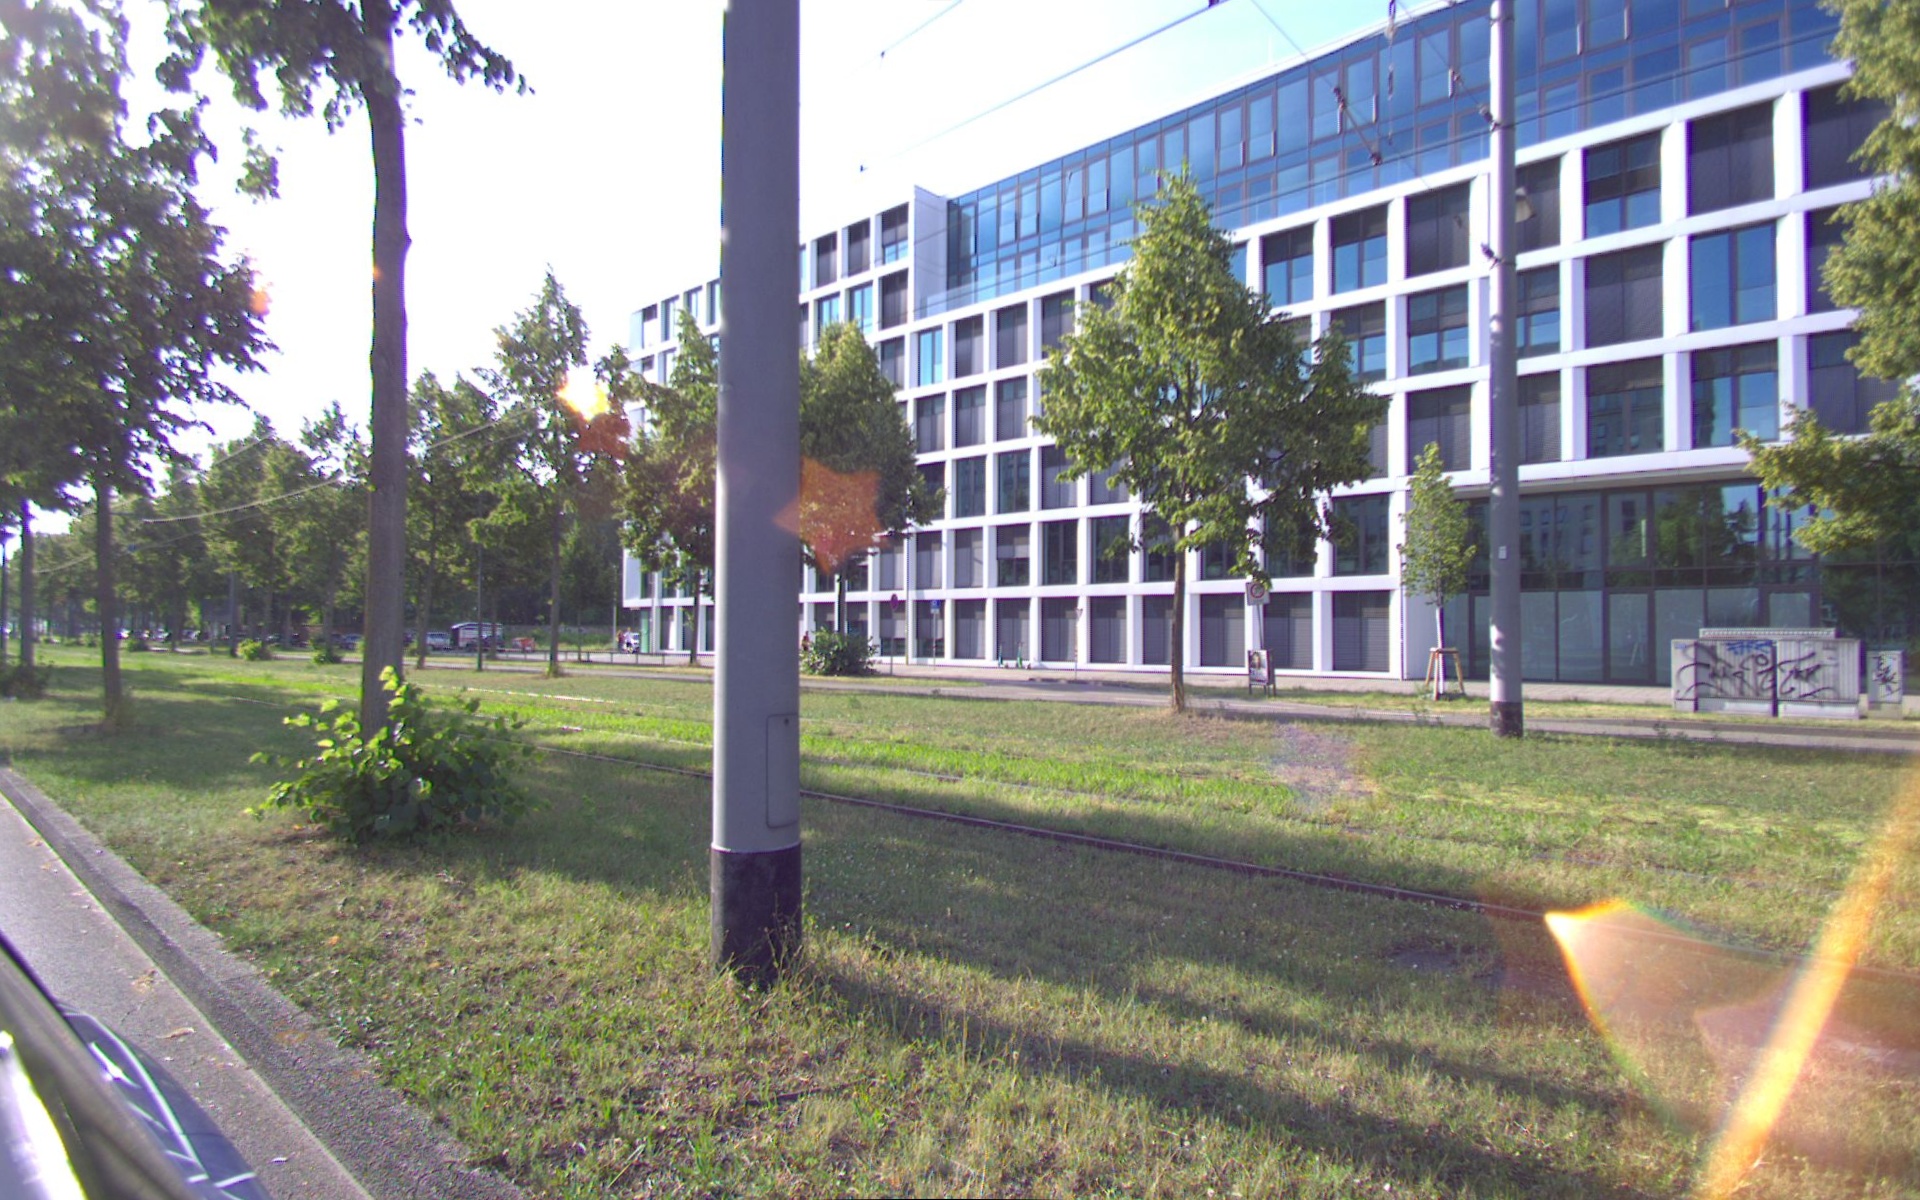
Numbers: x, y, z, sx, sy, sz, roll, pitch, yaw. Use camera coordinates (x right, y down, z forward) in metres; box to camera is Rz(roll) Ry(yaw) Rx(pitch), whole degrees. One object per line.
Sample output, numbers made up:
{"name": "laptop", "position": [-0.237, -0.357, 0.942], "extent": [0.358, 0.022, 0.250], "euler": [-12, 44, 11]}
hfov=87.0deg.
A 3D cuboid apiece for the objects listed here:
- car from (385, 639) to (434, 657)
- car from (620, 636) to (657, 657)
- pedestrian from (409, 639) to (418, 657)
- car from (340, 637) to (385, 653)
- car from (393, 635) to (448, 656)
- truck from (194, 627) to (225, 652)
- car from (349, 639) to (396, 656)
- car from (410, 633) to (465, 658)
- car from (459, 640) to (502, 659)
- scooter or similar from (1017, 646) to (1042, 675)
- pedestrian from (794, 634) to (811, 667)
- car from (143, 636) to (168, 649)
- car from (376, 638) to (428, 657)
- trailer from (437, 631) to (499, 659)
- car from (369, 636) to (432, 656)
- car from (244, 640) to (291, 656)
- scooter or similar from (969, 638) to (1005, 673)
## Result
{"name": "car", "position": [-50.218, 4.357, 92.340], "extent": [1.726, 1.436, 3.529], "euler": [-1, 0, 42]}
{"name": "car", "position": [-27.492, 3.956, 86.519], "extent": [1.824, 1.608, 4.009], "euler": [-1, 0, -37]}
{"name": "pedestrian", "position": [-46.932, 4.101, 86.958], "extent": [0.568, 1.491, 0.516], "euler": [-1, 0, 41]}
{"name": "car", "position": [-61.628, 4.653, 104.414], "extent": [3.810, 1.497, 1.746], "euler": [-1, 0, -40]}
{"name": "car", "position": [-47.957, 4.064, 90.017], "extent": [1.757, 1.655, 3.949], "euler": [-1, 0, 42]}
{"name": "truck", "position": [-113.598, 5.994, 153.119], "extent": [2.854, 3.542, 7.952], "euler": [-1, 0, -43]}
{"name": "car", "position": [-57.203, 4.584, 98.587], "extent": [1.810, 1.439, 3.606], "euler": [-1, 0, 44]}
{"name": "car", "position": [-45.484, 3.925, 88.135], "extent": [1.757, 1.962, 3.949], "euler": [-1, 0, 42]}
{"name": "car", "position": [-38.564, 3.956, 81.419], "extent": [3.757, 1.404, 1.663], "euler": [-1, 0, 39]}
{"name": "scooter or similar", "position": [3.099, 2.678, 45.119], "extent": [0.331, 1.235, 1.302], "euler": [-1, 0, -34]}
{"name": "pedestrian", "position": [-8.591, 2.742, 55.206], "extent": [0.691, 1.741, 0.561], "euler": [-1, 0, 42]}
{"name": "car", "position": [-97.667, 5.184, 122.809], "extent": [4.475, 1.442, 1.810], "euler": [-1, 0, 43]}
{"name": "car", "position": [-52.748, 4.497, 95.759], "extent": [1.856, 1.572, 3.942], "euler": [-1, 0, 44]}
{"name": "trailer", "position": [-41.044, 3.725, 84.514], "extent": [1.759, 2.069, 4.314], "euler": [-1, 0, 45]}
{"name": "car", "position": [-54.079, 4.409, 97.803], "extent": [1.886, 1.748, 5.003], "euler": [-1, 0, 44]}
{"name": "car", "position": [-69.774, 4.835, 102.047], "extent": [3.995, 1.446, 1.680], "euler": [-1, 0, 13]}
{"name": "scooter or similar", "position": [1.241, 2.523, 46.230], "extent": [1.906, 1.488, 0.415], "euler": [-1, 0, -44]}
